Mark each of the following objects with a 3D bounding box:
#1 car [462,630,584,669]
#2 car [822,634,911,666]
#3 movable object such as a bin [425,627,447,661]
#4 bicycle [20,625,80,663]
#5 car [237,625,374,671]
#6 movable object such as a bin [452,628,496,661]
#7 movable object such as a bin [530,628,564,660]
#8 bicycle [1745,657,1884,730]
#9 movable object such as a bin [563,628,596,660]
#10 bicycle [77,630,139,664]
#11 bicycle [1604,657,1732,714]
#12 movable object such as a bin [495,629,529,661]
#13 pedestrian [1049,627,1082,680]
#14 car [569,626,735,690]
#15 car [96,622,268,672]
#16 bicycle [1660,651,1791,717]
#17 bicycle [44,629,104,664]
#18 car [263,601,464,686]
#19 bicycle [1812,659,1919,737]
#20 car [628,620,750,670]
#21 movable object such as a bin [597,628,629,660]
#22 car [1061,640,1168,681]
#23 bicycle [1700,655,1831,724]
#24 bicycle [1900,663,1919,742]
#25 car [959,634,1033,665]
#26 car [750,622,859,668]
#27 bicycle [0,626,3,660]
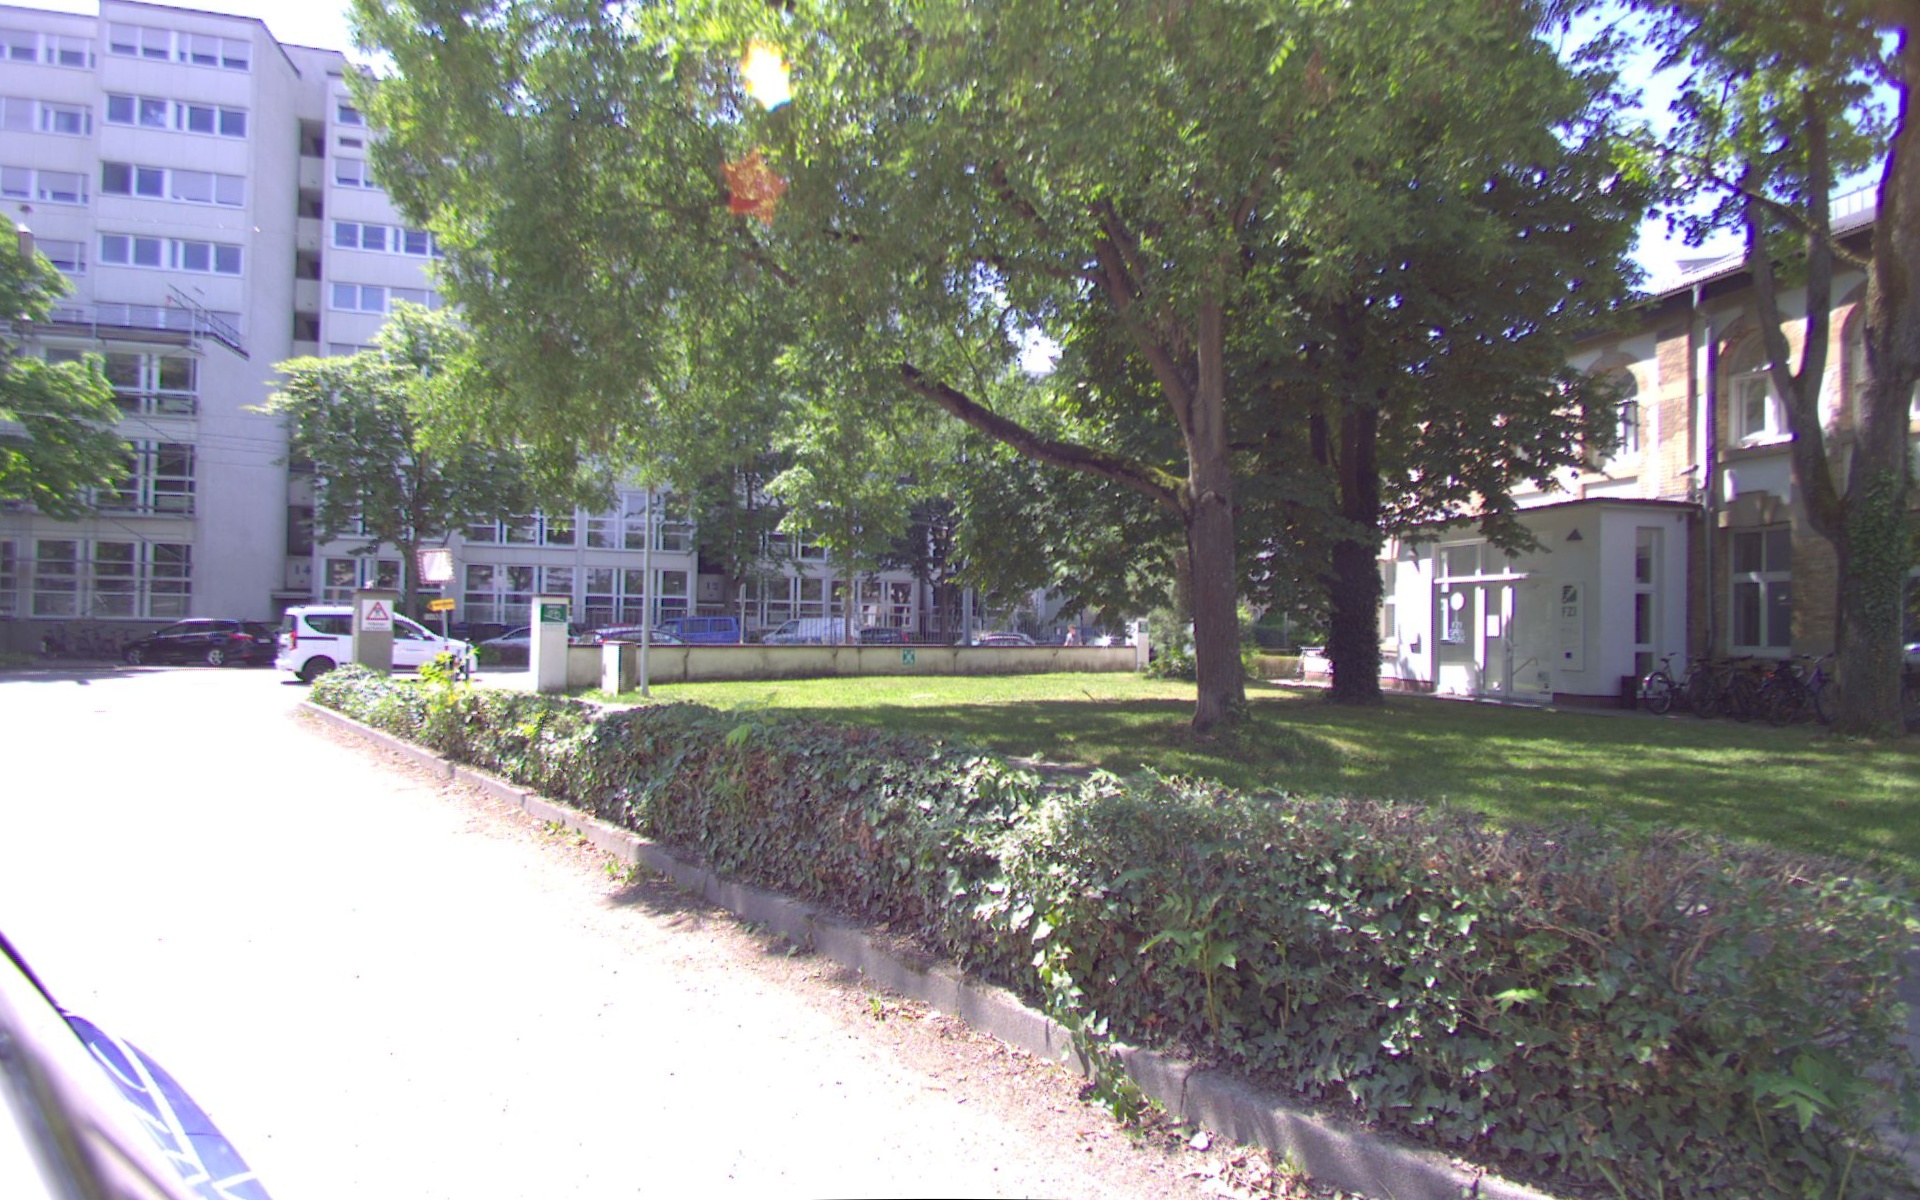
[{"bbox_3d":[-16.578,1.877,38.507,3.927,1.424,1.714,1,-2,2],"label":"car"},{"bbox_3d":[-4.525,2.408,49.176,3.961,1.497,1.663,0,-2,14],"label":"car"},{"bbox_3d":[-22.040,1.835,42.547,0.790,1.416,0.769,2,-3,-28],"label":"movable object such as a bin"},{"bbox_3d":[-30.669,1.480,34.140,0.559,1.247,1.948,1,-2,-11],"label":"bicycle"},{"bbox_3d":[-21.968,1.607,34.051,3.492,1.473,1.753,1,-2,2],"label":"car"},{"bbox_3d":[-20.304,1.866,42.289,1.429,1.340,1.128,2,-3,-40],"label":"movable object such as a bin"},{"bbox_3d":[-18.140,1.934,44.463,1.162,1.409,1.040,2,-3,-34],"label":"movable object such as a bin"},{"bbox_3d":[12.948,1.390,15.326,2.220,1.019,0.609,1,-2,-22],"label":"bicycle"},{"bbox_3d":[-17.052,1.975,45.337,1.162,1.409,1.040,2,-3,-34],"label":"movable object such as a bin"},{"bbox_3d":[-29.128,1.590,34.643,0.559,1.139,2.240,1,-2,-11],"label":"bicycle"},{"bbox_3d":[12.102,1.443,17.284,2.220,0.897,0.657,1,-2,-22],"label":"bicycle"},{"bbox_3d":[-19.189,1.917,43.368,1.060,1.340,0.973,2,-3,-40],"label":"movable object such as a bin"},{"bbox_3d":[3.215,1.627,30.769,0.733,1.579,0.698,2,-2,-44],"label":"pedestrian"},{"bbox_3d":[-7.677,1.466,25.436,1.589,1.468,3.671,-5,-6,44],"label":"car"},{"bbox_3d":[-24.568,1.486,32.053,4.141,1.481,1.753,1,-2,2],"label":"car"},{"bbox_3d":[12.540,1.351,16.572,2.220,1.019,0.634,1,-2,-22],"label":"bicycle"},{"bbox_3d":[-29.789,1.562,34.062,0.559,1.139,1.948,1,-2,-11],"label":"bicycle"},{"bbox_3d":[-14.495,1.029,24.729,3.940,1.868,1.521,2,0,-44],"label":"car"},{"bbox_3d":[13.149,1.361,14.364,2.220,1.019,0.609,1,-2,-22],"label":"bicycle"},{"bbox_3d":[-11.399,1.903,42.770,4.569,2.029,1.998,0,-2,3],"label":"car"},{"bbox_3d":[-15.875,2.020,46.277,1.162,1.409,1.040,2,-3,-34],"label":"movable object such as a bin"},{"bbox_3d":[5.749,2.207,37.438,3.713,1.455,1.956,2,-3,-40],"label":"car"},{"bbox_3d":[12.687,1.392,15.933,2.220,1.019,0.572,1,-2,-22],"label":"bicycle"},{"bbox_3d":[13.494,1.339,13.318,2.221,1.019,0.609,1,-2,-17],"label":"bicycle"},{"bbox_3d":[1.993,2.730,56.014,3.946,1.397,1.750,3,0,2],"label":"car"},{"bbox_3d":[-7.173,2.076,46.931,4.581,2.029,1.993,0,-2,11],"label":"car"},{"bbox_3d":[-32.389,1.419,33.125,0.559,1.139,1.948,1,-2,-11],"label":"bicycle"}]
